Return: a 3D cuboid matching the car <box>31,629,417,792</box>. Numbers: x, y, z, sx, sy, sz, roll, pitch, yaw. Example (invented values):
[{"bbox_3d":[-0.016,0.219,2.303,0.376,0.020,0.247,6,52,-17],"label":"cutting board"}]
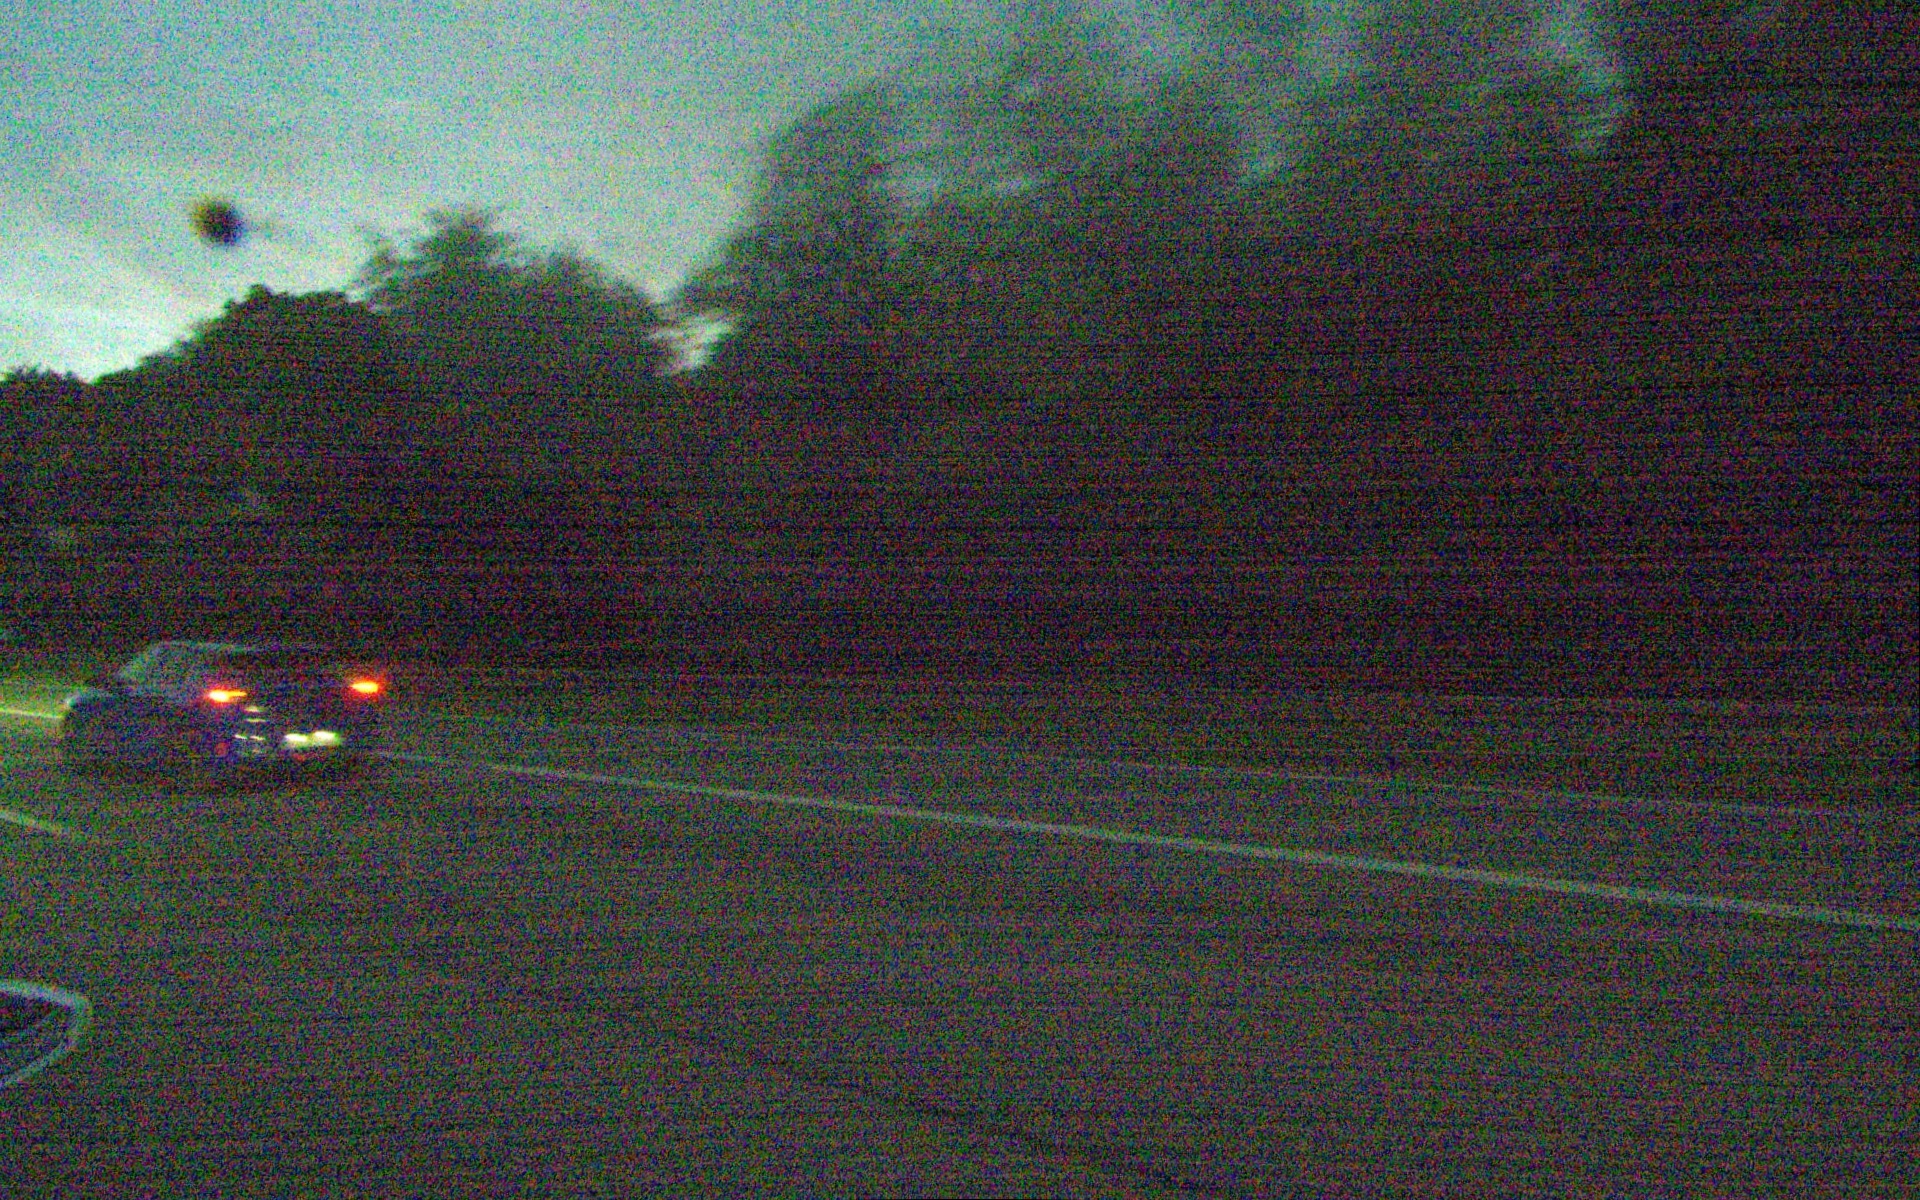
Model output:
[{"bbox_3d":[-8.095,1.057,10.915,4.518,1.454,1.862,-1,-2,32],"label":"car"}]
